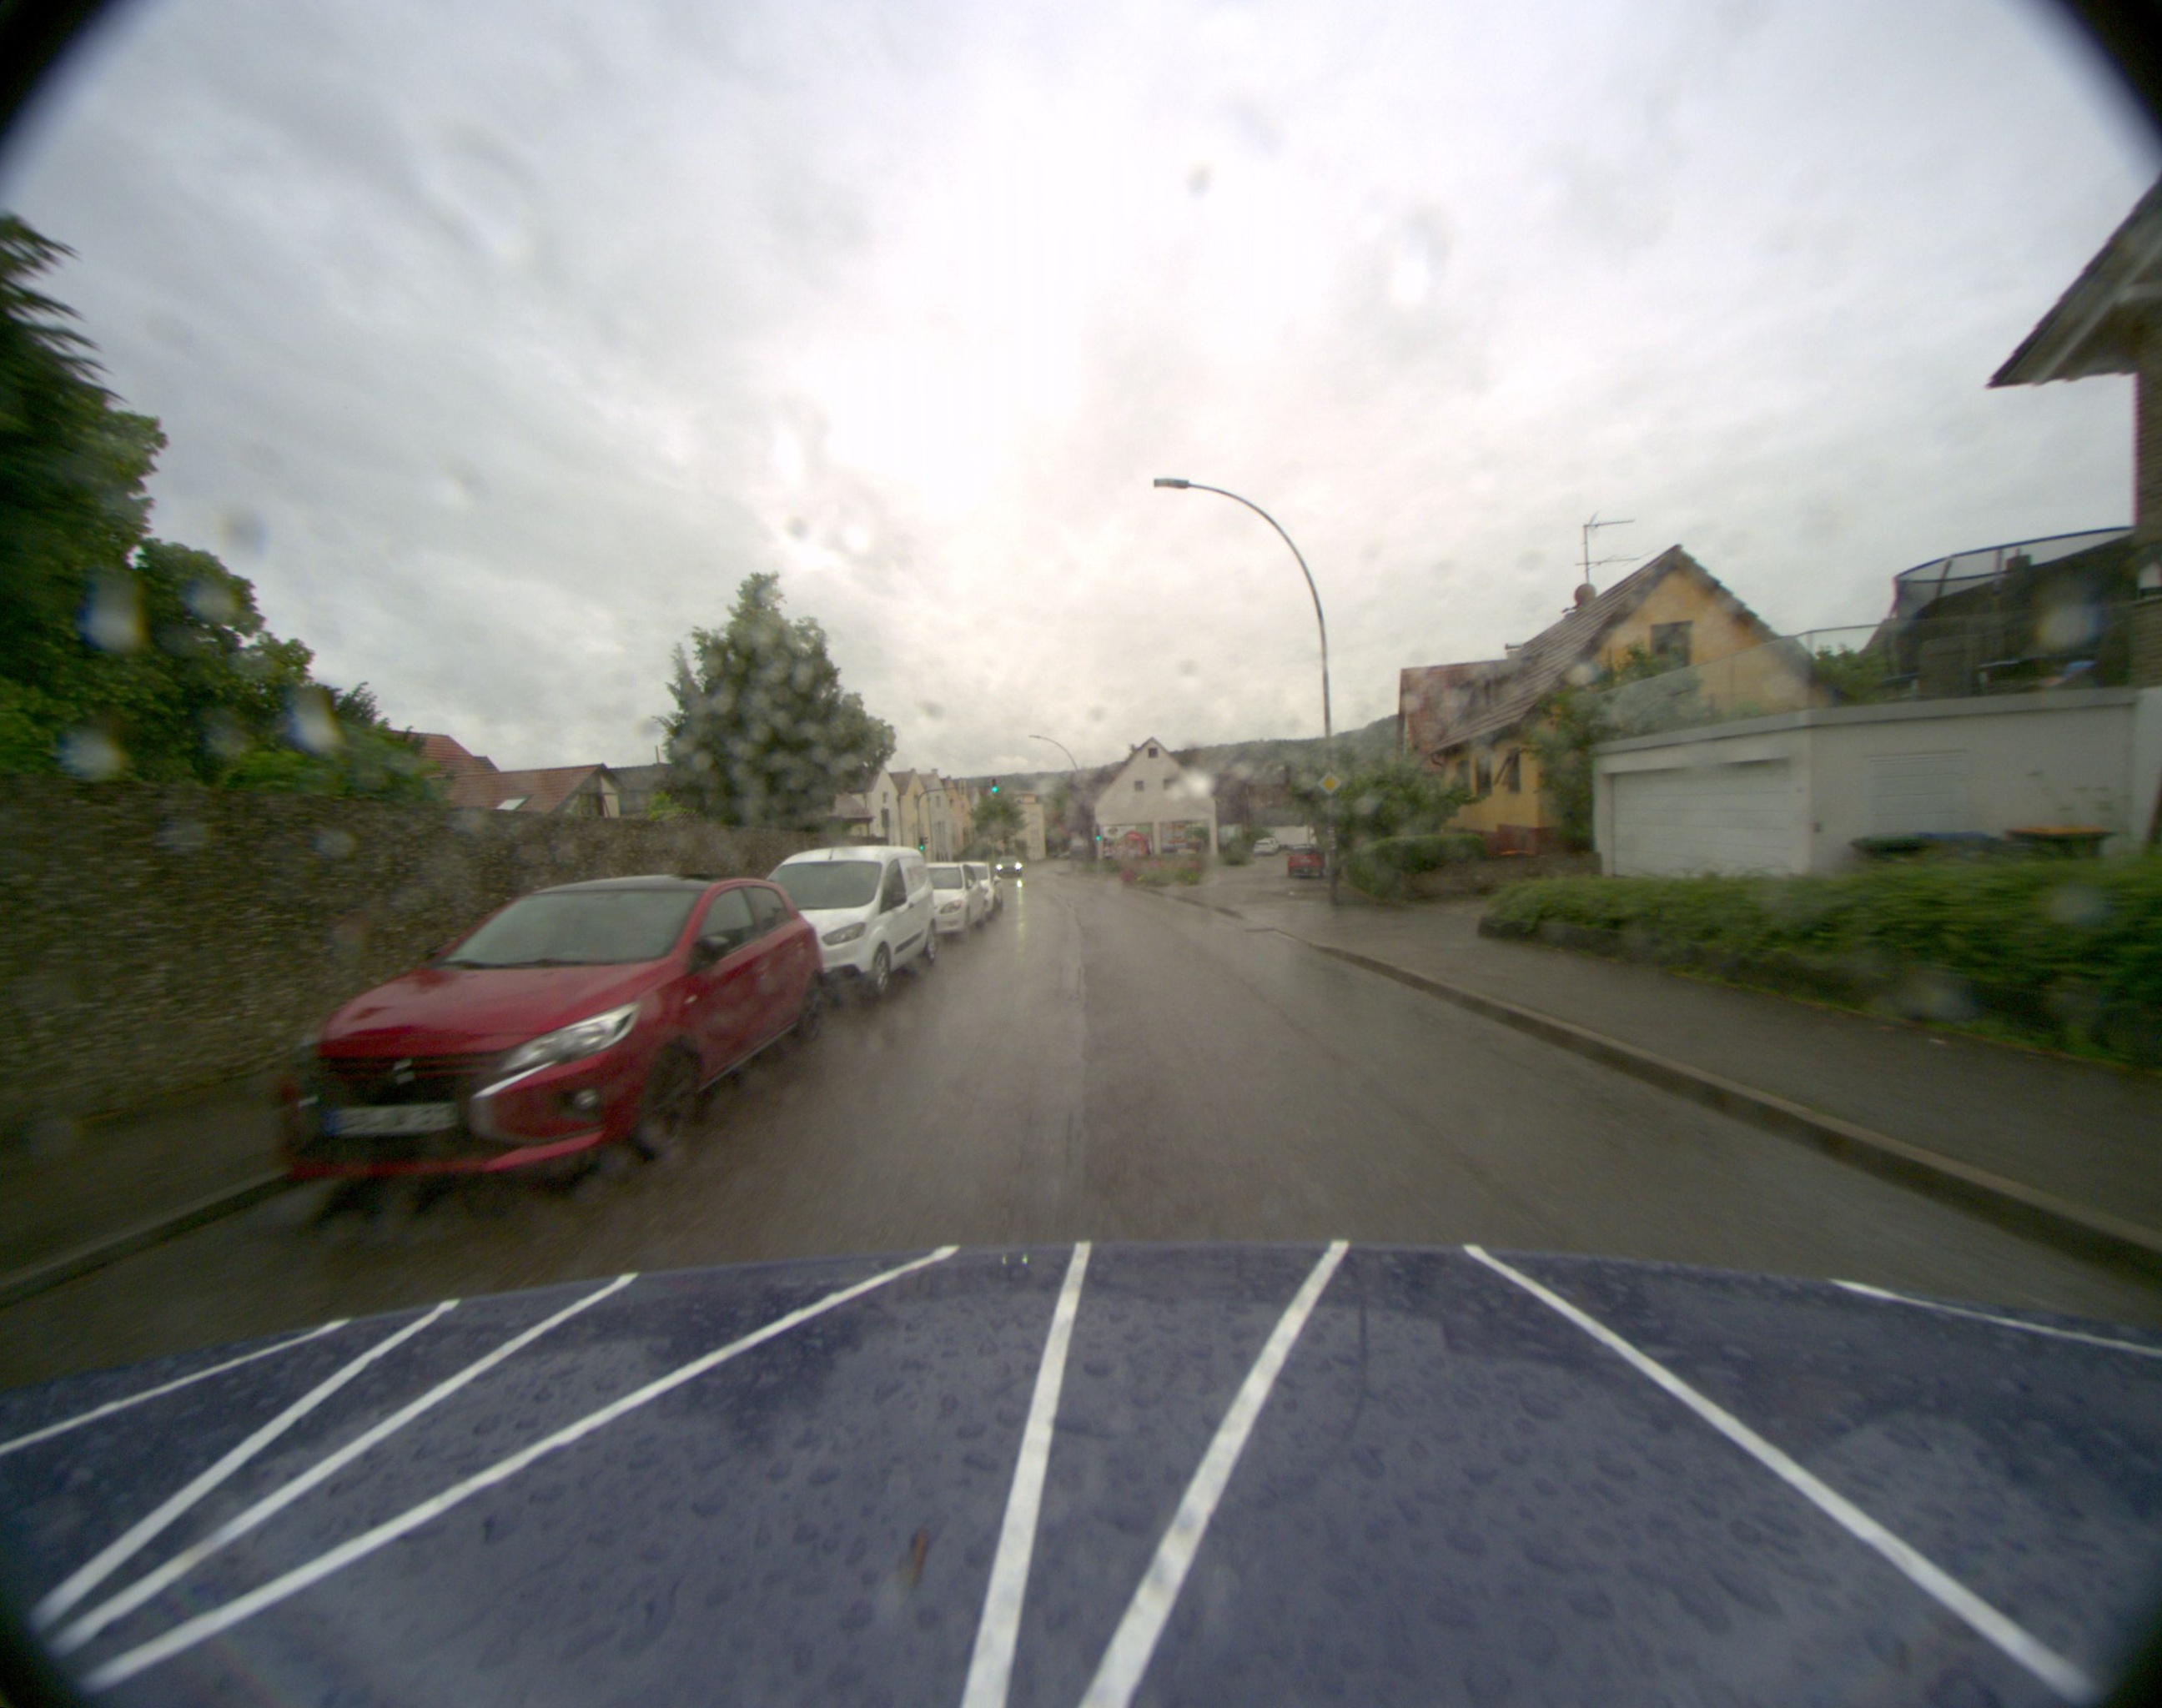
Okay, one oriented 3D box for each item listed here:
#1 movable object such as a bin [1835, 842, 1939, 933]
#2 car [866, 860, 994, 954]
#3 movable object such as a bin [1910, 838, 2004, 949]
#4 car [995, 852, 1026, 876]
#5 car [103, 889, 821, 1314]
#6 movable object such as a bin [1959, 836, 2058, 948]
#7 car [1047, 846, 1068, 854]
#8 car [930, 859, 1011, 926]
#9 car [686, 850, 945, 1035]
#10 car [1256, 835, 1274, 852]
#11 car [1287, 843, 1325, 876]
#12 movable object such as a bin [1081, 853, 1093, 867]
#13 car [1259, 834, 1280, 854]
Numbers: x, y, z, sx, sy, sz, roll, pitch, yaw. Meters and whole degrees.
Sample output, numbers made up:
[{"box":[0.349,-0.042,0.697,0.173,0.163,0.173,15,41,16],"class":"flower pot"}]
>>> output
[{"box":[9.940,0.394,9.394,0.561,1.068,0.713,-2,1,12],"class":"movable object such as a bin"},{"box":[-2.892,0.962,15.445,1.650,1.454,3.999,-4,1,1],"class":"car"},{"box":[10.630,0.468,9.233,0.497,1.295,0.556,-2,1,12],"class":"movable object such as a bin"},{"box":[-5.165,0.739,56.237,1.999,1.521,3.998,-3,2,-3],"class":"car"},{"box":[-3.034,1.050,4.807,1.588,1.446,3.663,-1,0,-2],"class":"car"},{"box":[11.128,0.442,9.132,0.497,1.295,0.556,-2,1,12],"class":"movable object such as a bin"},{"box":[-4.638,-0.832,153.070,1.875,1.368,4.007,-2,2,43],"class":"car"},{"box":[-2.881,0.962,20.550,1.616,1.472,4.037,-3,1,-2],"class":"car"},{"box":[-2.995,0.883,9.571,1.641,1.731,4.136,-4,0,1],"class":"car"},{"box":[17.272,-1.003,71.162,1.415,1.421,3.495,-2,2,16],"class":"car"},{"box":[11.609,0.230,39.395,1.751,1.553,4.023,-2,1,15],"class":"car"},{"box":[0.504,0.489,64.943,0.899,1.072,0.651,-4,2,1],"class":"movable object such as a bin"},{"box":[18.988,-1.036,76.504,1.755,1.878,3.744,-2,1,17],"class":"car"}]
